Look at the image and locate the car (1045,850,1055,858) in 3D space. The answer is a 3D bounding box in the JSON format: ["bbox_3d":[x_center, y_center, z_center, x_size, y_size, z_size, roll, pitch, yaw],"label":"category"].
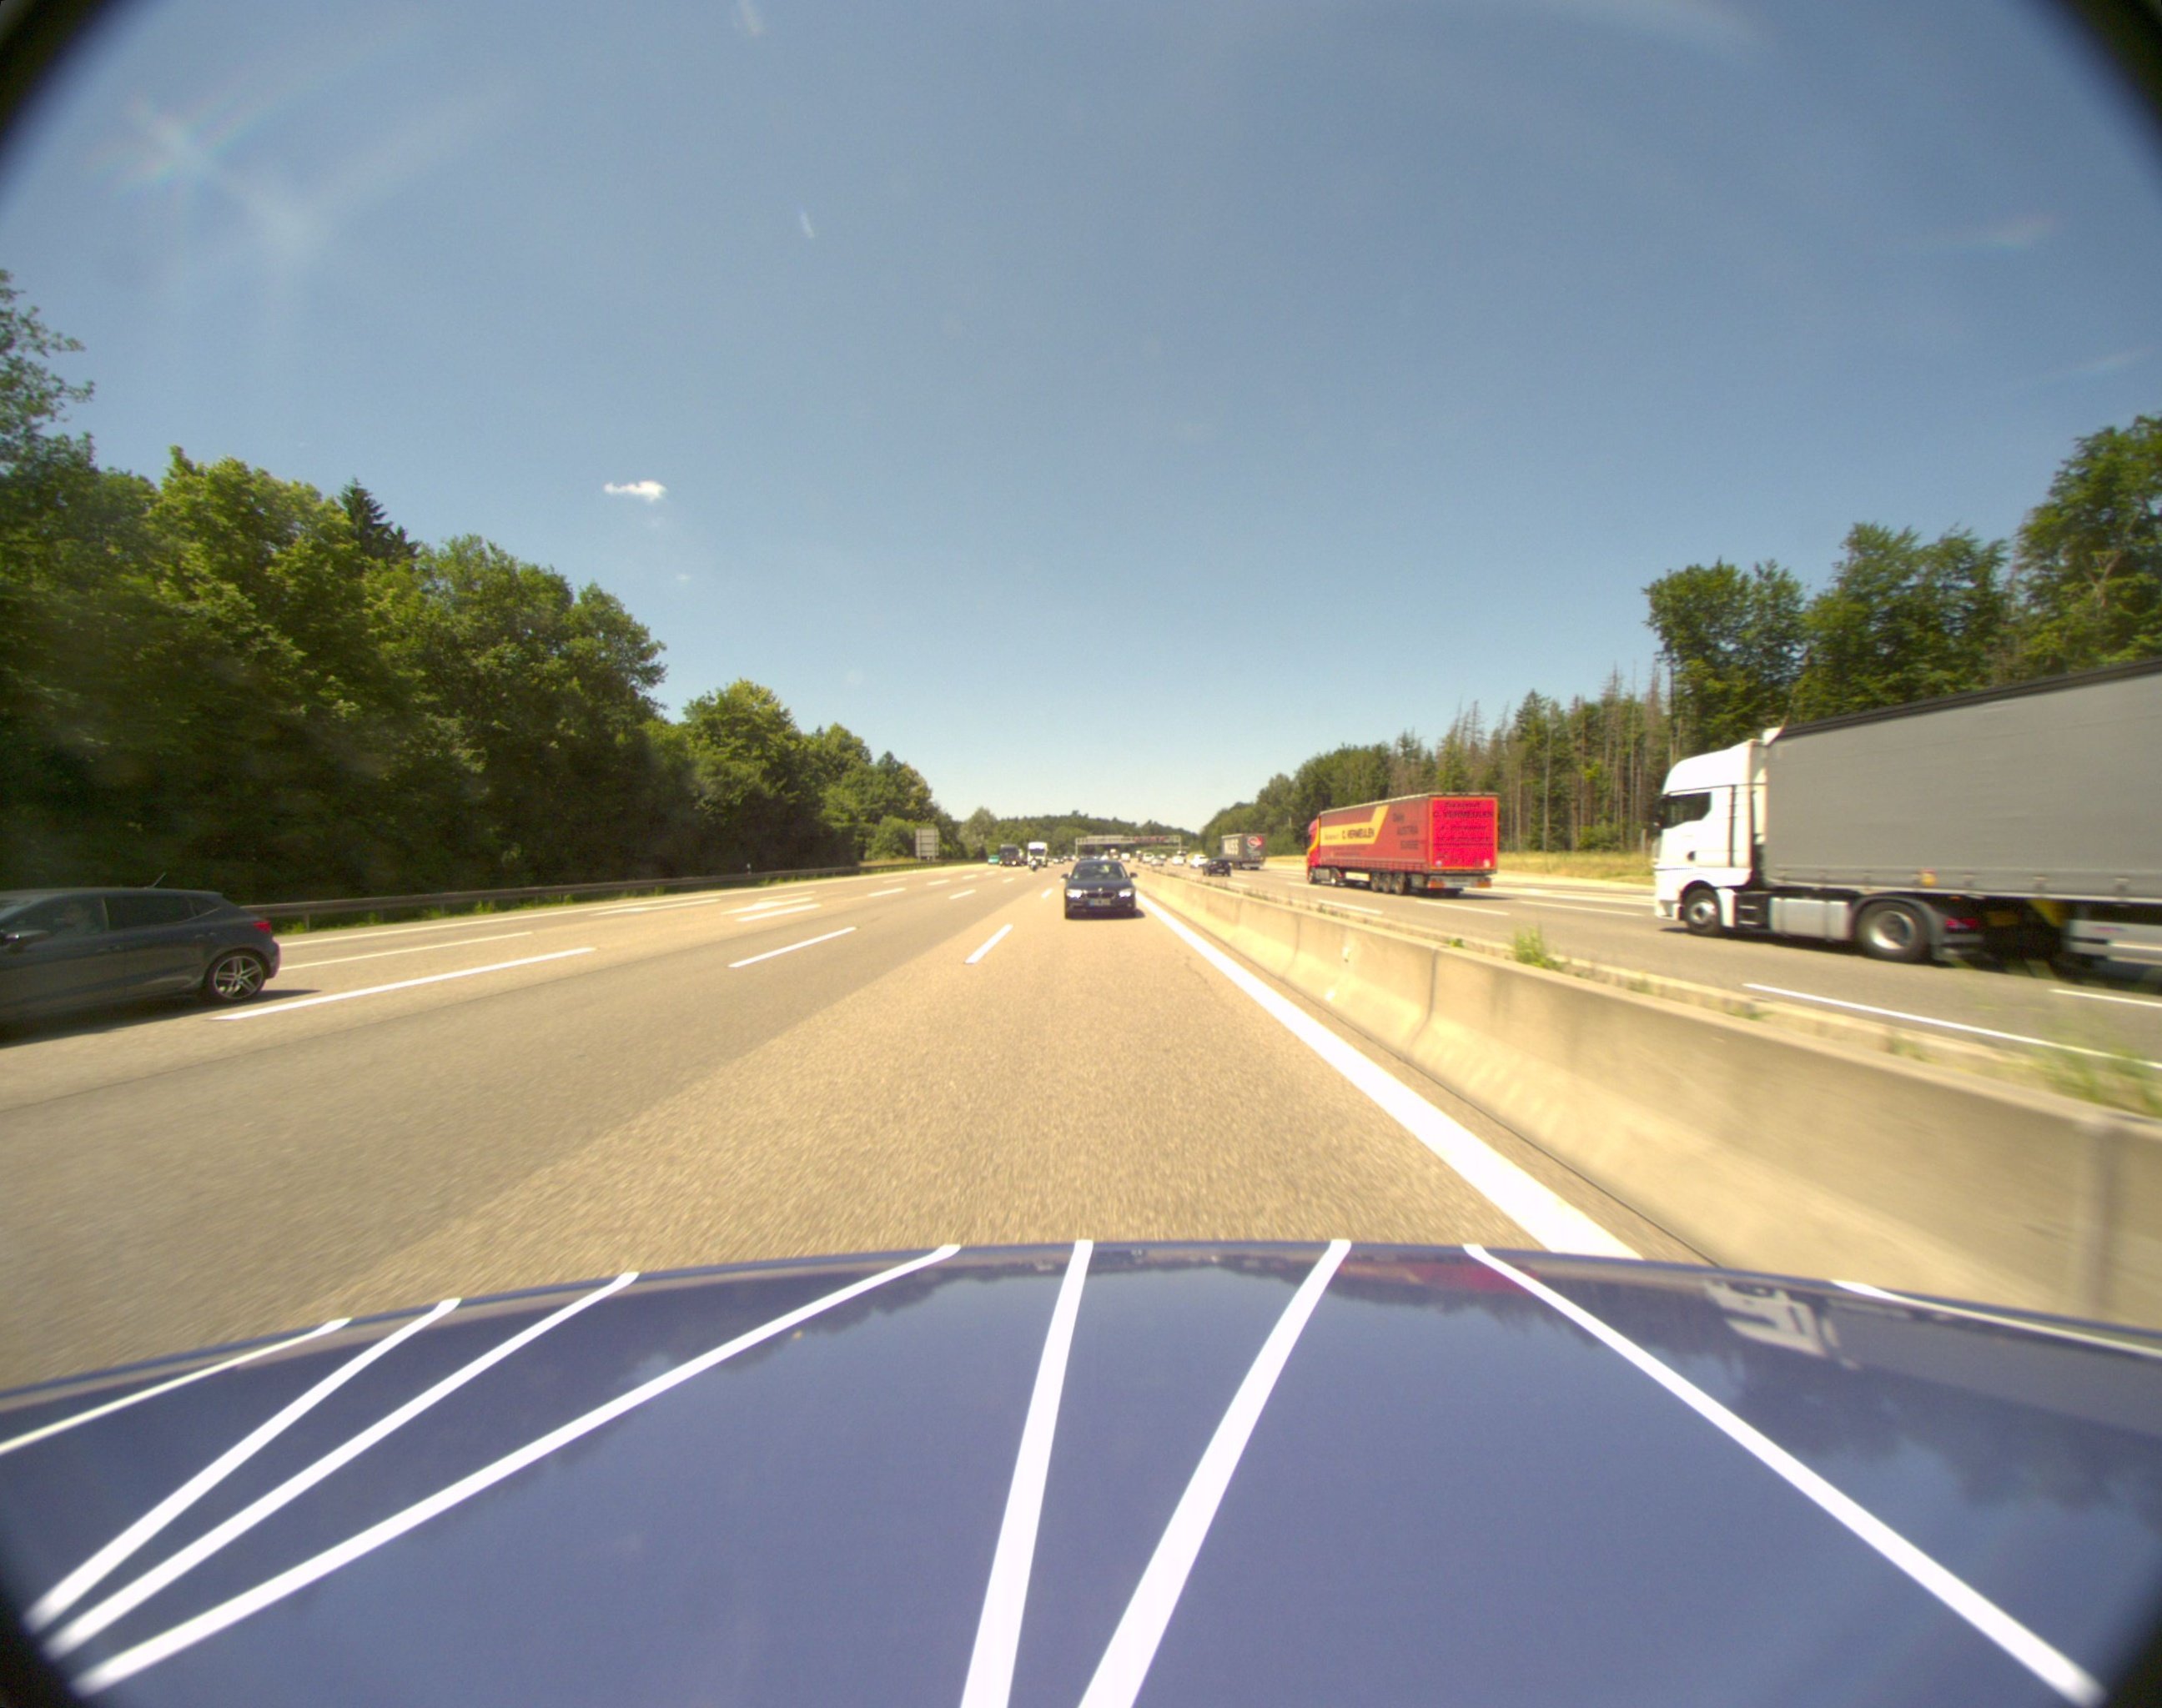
[{"bbox_3d":[-6.814,-0.036,167.373,1.998,1.671,4.127,0,1,3],"label":"car"}]

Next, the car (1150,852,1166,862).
[{"bbox_3d":[11.710,0.437,116.177,1.998,1.369,5.010,0,1,1],"label":"car"}]

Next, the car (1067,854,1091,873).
[{"bbox_3d":[-0.152,0.766,61.666,1.834,1.454,4.204,0,1,1],"label":"car"}]

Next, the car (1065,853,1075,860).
[{"bbox_3d":[-2.589,0.530,181.079,1.998,1.671,4.127,0,1,2],"label":"car"}]

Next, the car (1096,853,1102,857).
[{"bbox_3d":[5.812,0.256,251.368,1.910,1.450,4.127,0,1,3],"label":"car"}]

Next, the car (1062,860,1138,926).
[{"bbox_3d":[0.505,0.924,20.032,1.741,1.450,4.542,-1,0,2],"label":"car"}]

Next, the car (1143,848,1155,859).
[{"bbox_3d":[13.084,-0.055,146.914,1.998,2.002,5.129,0,1,1],"label":"car"}]

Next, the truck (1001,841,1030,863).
[{"bbox_3d":[-9.061,-0.316,105.878,2.660,2.839,10.886,0,1,3],"label":"truck"}]

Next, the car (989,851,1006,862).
[{"bbox_3d":[-12.571,0.353,114.913,1.998,1.671,4.127,0,1,2],"label":"car"}]

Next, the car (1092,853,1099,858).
[{"bbox_3d":[4.484,0.420,234.108,1.910,1.450,4.127,0,1,3],"label":"car"}]

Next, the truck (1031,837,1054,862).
[{"bbox_3d":[-5.077,-0.593,101.913,2.428,3.237,8.689,0,1,1],"label":"truck"}]

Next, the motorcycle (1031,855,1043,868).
[{"bbox_3d":[-4.425,0.764,76.837,0.925,1.310,2.998,-1,0,1],"label":"motorcycle"}]

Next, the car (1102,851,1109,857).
[{"bbox_3d":[7.921,0.057,242.913,1.998,1.935,4.128,-1,0,3],"label":"car"}]

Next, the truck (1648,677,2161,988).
[{"bbox_3d":[13.728,-0.298,13.187,2.741,4.008,6.781,0,1,1],"label":"truck"}]

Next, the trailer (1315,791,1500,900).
[{"bbox_3d":[14.221,-0.351,35.082,2.577,4.026,14.181,0,0,1],"label":"trailer"}]

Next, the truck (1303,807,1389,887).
[{"bbox_3d":[14.311,-0.374,41.553,2.534,4.025,6.472,-1,0,1],"label":"truck"}]

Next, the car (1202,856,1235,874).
[{"bbox_3d":[10.863,0.844,60.323,1.826,1.379,4.315,-1,0,1],"label":"car"}]

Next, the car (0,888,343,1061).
[{"bbox_3d":[-10.847,1.211,7.966,1.647,1.430,4.634,-1,1,0],"label":"car"}]

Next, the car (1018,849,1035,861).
[{"bbox_3d":[-8.328,0.124,116.489,1.998,1.885,4.870,0,1,2],"label":"car"}]

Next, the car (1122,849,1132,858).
[{"bbox_3d":[10.150,-0.104,167.236,2.082,2.032,5.711,0,0,1],"label":"car"}]

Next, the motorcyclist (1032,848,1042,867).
[{"bbox_3d":[-4.433,0.353,76.717,0.914,1.926,0.905,-1,1,1],"label":"motorcyclist"}]

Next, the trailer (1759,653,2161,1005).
[{"bbox_3d":[13.598,-0.283,6.545,2.761,3.978,14.466,-1,0,1],"label":"trailer"}]

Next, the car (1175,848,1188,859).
[{"bbox_3d":[22.586,-0.128,171.083,1.953,2.398,6.345,0,0,0],"label":"car"}]

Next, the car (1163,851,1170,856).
[{"bbox_3d":[24.687,-0.198,219.784,1.734,1.561,3.863,-1,0,1],"label":"car"}]

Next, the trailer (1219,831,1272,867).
[{"bbox_3d":[19.192,-0.576,89.705,3.350,3.978,14.278,0,0,1],"label":"trailer"}]

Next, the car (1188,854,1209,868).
[{"bbox_3d":[14.881,0.828,96.180,1.998,1.661,4.612,0,0,1],"label":"car"}]

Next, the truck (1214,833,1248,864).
[{"bbox_3d":[19.231,-0.668,97.792,3.296,3.908,5.539,0,1,1],"label":"truck"}]

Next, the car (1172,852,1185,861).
[{"bbox_3d":[16.344,0.343,127.246,1.809,1.477,3.810,0,0,1],"label":"car"}]

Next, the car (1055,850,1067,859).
[{"bbox_3d":[-3.582,0.118,137.820,1.998,1.671,4.127,0,1,2],"label":"car"}]

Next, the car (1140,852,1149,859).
[{"bbox_3d":[14.789,0.345,177.312,1.832,1.689,5.003,0,0,1],"label":"car"}]
